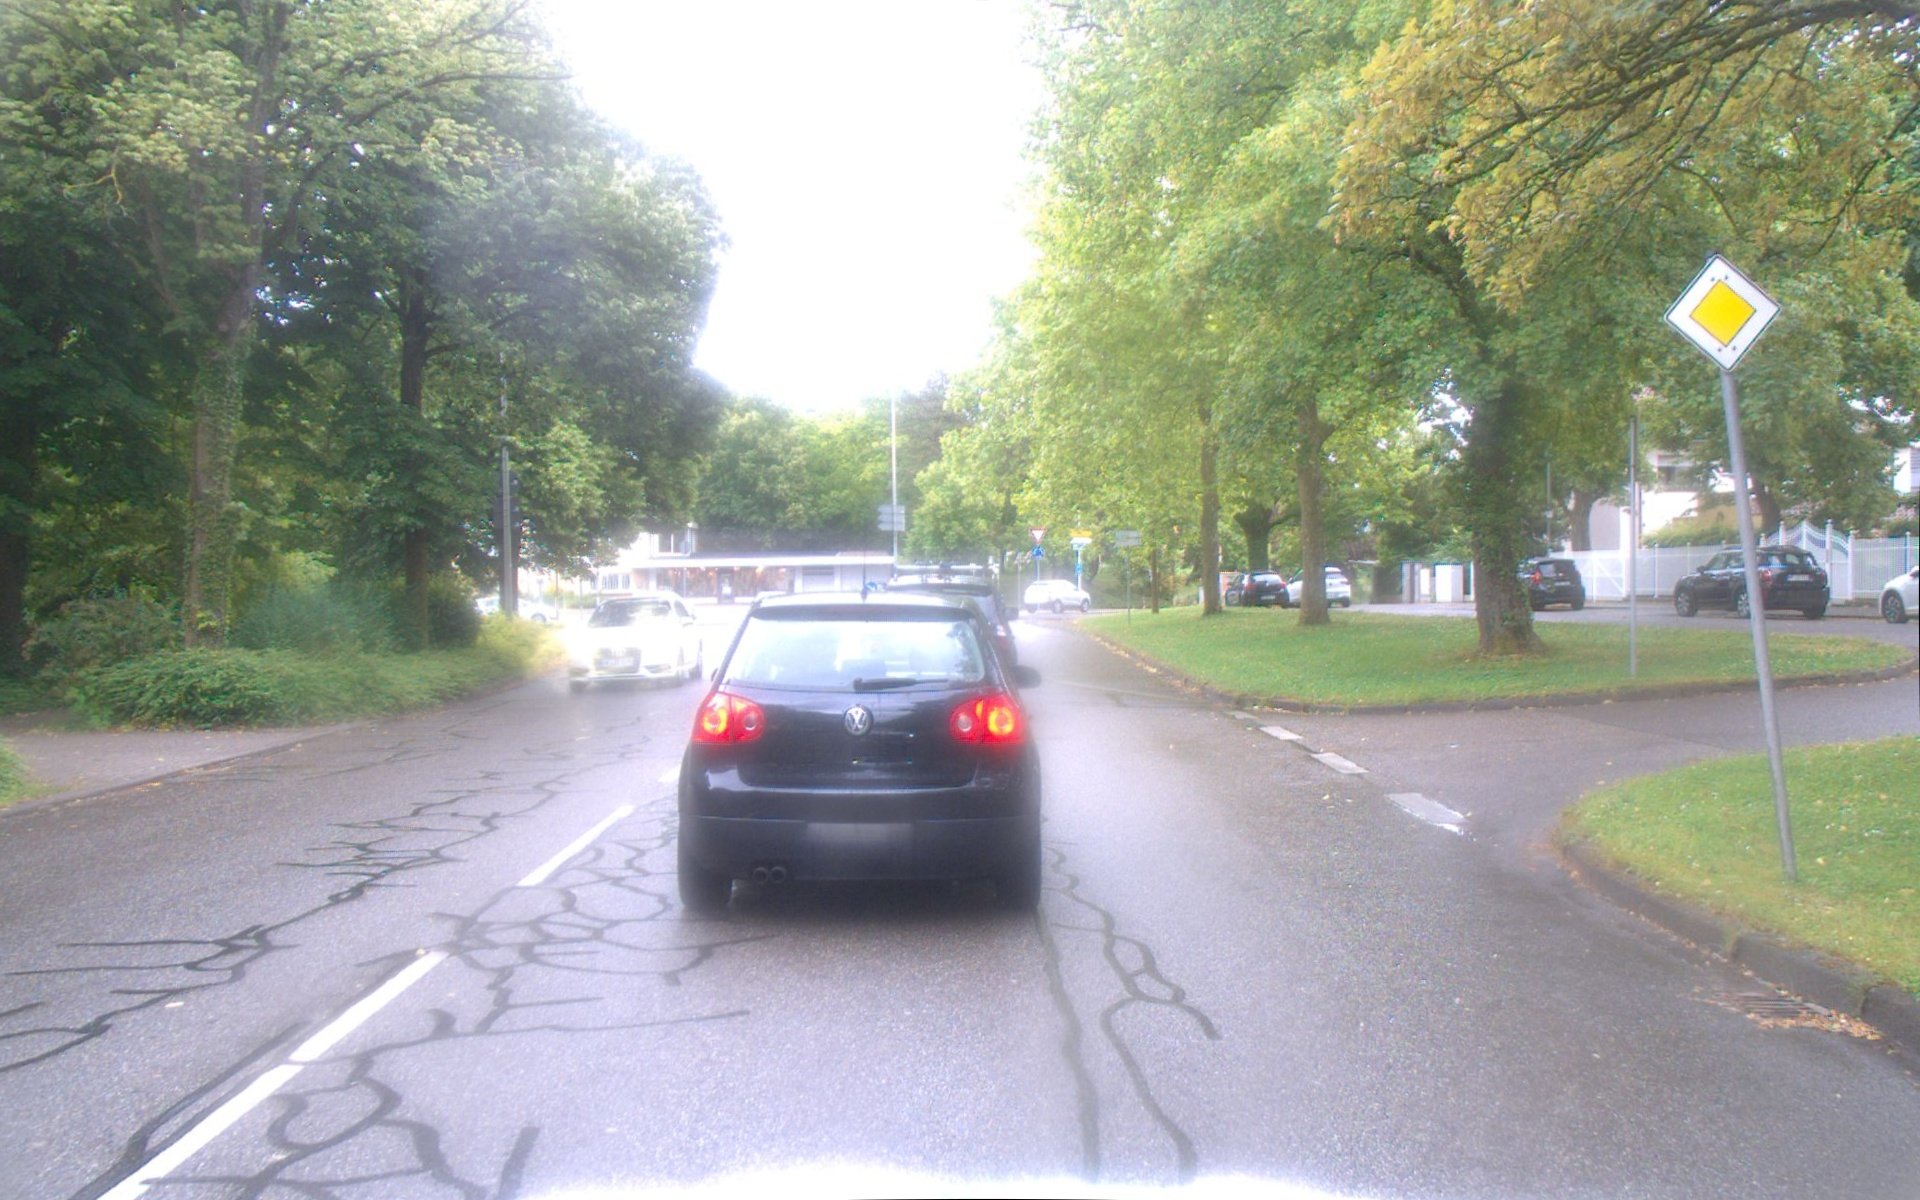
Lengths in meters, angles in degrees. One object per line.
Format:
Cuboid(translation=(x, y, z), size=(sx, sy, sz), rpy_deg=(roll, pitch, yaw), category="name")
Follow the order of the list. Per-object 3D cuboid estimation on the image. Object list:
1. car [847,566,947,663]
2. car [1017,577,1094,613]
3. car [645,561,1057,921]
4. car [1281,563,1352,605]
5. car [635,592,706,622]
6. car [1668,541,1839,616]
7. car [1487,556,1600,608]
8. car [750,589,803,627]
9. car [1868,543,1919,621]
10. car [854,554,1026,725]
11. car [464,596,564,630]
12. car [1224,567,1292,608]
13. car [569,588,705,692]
Cuboid(translation=(-1.213, 0.280, 33.399), size=(1.817, 1.816, 4.000), rpy_deg=(-1, 0, 0), category="car")
Cuboid(translation=(5.036, -0.253, 86.967), size=(1.966, 1.735, 3.973), rpy_deg=(-2, 0, 44), category="car")
Cuboid(translation=(-0.463, 0.607, 8.962), size=(1.762, 1.542, 3.753), rpy_deg=(0, 0, 0), category="car")
Cuboid(translation=(13.468, -0.611, 62.712), size=(1.767, 1.430, 4.000), rpy_deg=(-3, 1, 0), category="car")
Cuboid(translation=(-13.882, 0.323, 79.413), size=(3.056, 1.333, 1.540), rpy_deg=(-2, 0, 0), category="car")
Cuboid(translation=(18.068, -0.516, 37.882), size=(1.766, 1.556, 4.110), rpy_deg=(-2, 1, -3), category="car")
Cuboid(translation=(17.515, -0.564, 49.833), size=(1.766, 1.436, 4.110), rpy_deg=(-2, 1, -3), category="car")
Cuboid(translation=(-7.670, 0.330, 68.790), size=(1.766, 1.417, 3.966), rpy_deg=(-3, 0, -12), category="car")
Cuboid(translation=(18.688, -0.340, 30.331), size=(1.585, 1.434, 4.006), rpy_deg=(-2, 1, -6), category="car")
Cuboid(translation=(-0.215, 0.414, 19.870), size=(1.817, 1.816, 4.000), rpy_deg=(-1, 0, 0), category="car")
Cuboid(translation=(-21.286, 0.596, 78.951), size=(4.429, 1.444, 1.836), rpy_deg=(-2, 0, -20), category="car")
Cuboid(translation=(11.187, -0.472, 62.328), size=(1.767, 1.409, 4.000), rpy_deg=(-3, 1, 0), category="car")
Cuboid(translation=(-5.166, 0.588, 26.864), size=(1.576, 1.452, 4.006), rpy_deg=(-2, 1, -3), category="car")
